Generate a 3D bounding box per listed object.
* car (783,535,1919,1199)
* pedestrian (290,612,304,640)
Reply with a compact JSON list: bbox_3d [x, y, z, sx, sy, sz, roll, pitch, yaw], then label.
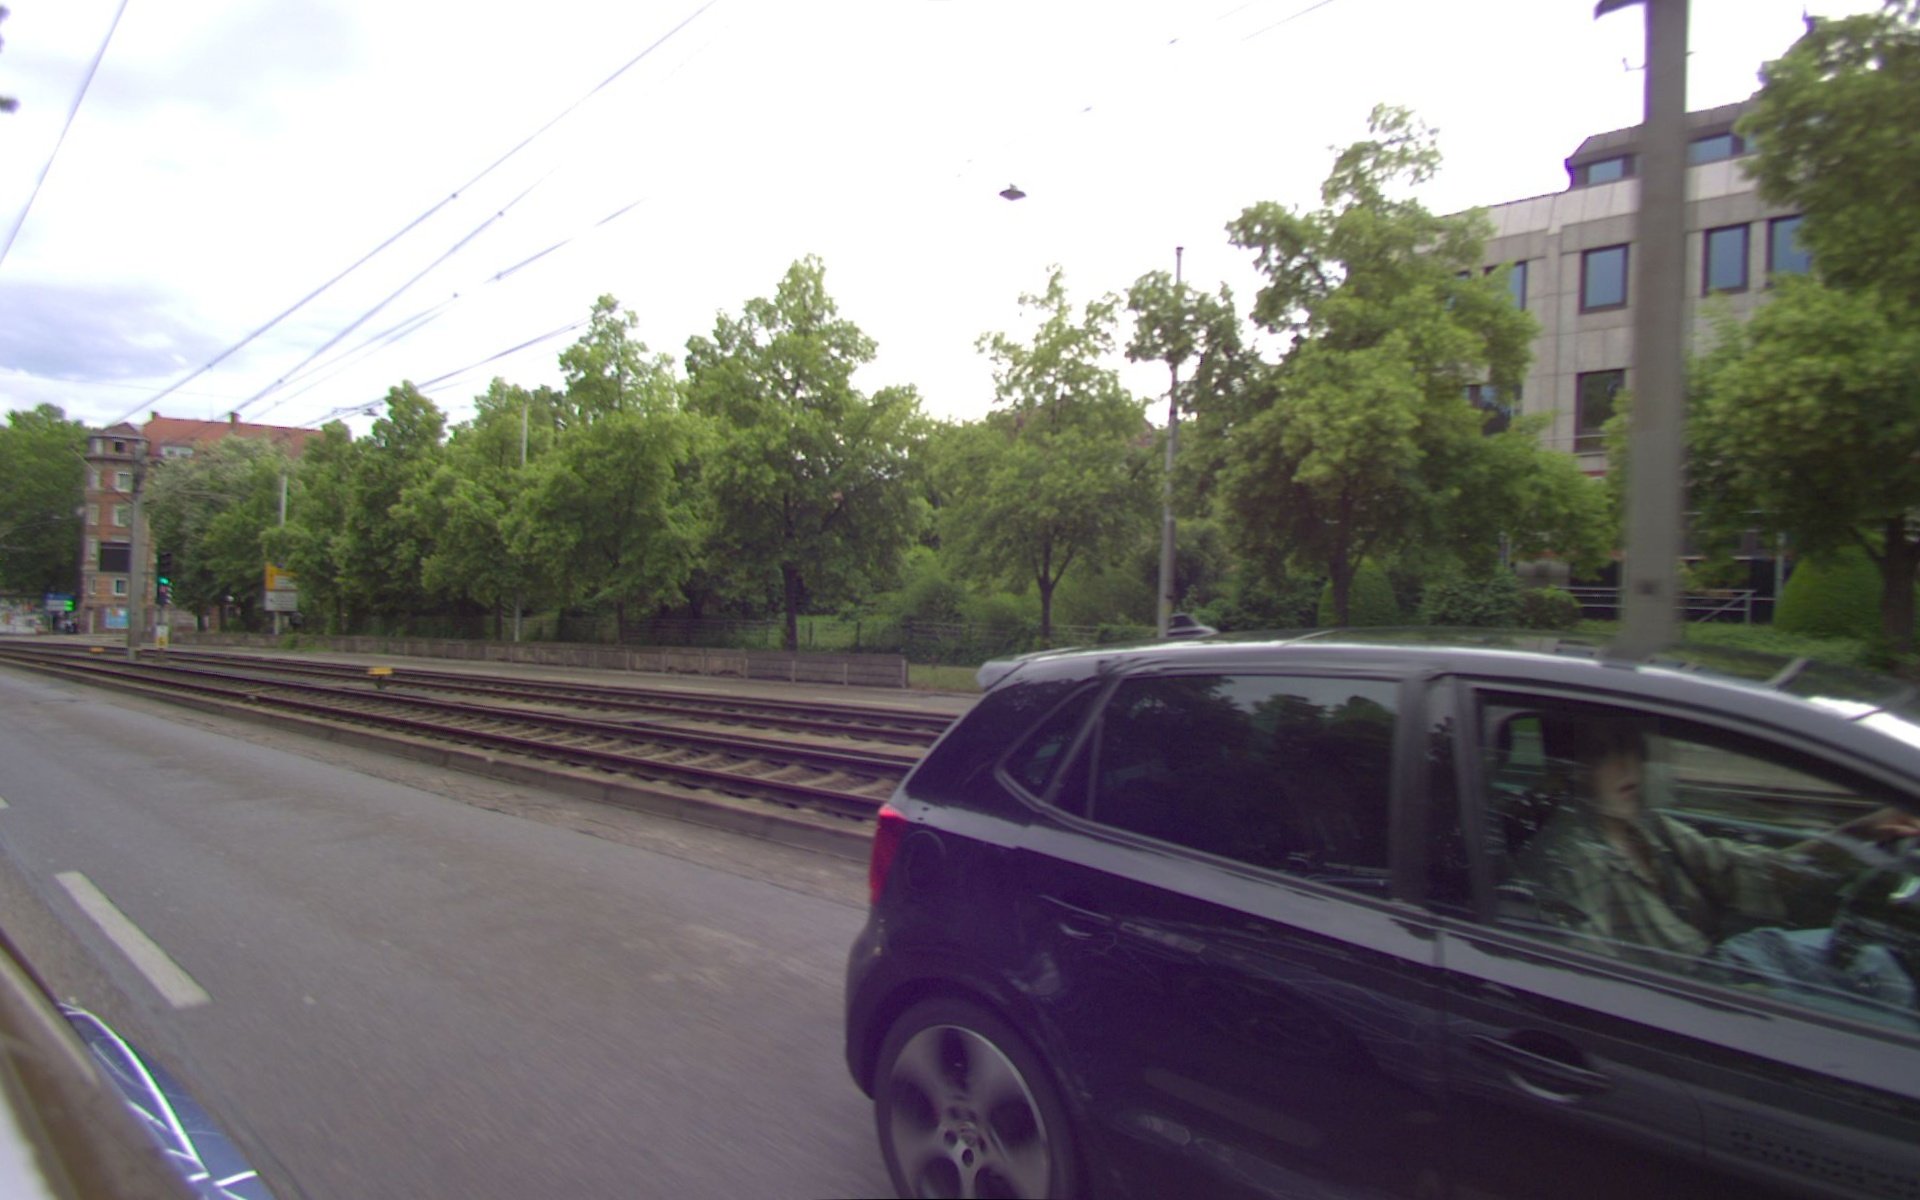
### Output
[{"bbox_3d":[1.645,0.704,1.923,3.961,1.497,1.776,-2,-3,40],"label":"car"},{"bbox_3d":[-45.790,1.782,69.886,0.653,1.917,0.590,-1,-1,37],"label":"pedestrian"}]
